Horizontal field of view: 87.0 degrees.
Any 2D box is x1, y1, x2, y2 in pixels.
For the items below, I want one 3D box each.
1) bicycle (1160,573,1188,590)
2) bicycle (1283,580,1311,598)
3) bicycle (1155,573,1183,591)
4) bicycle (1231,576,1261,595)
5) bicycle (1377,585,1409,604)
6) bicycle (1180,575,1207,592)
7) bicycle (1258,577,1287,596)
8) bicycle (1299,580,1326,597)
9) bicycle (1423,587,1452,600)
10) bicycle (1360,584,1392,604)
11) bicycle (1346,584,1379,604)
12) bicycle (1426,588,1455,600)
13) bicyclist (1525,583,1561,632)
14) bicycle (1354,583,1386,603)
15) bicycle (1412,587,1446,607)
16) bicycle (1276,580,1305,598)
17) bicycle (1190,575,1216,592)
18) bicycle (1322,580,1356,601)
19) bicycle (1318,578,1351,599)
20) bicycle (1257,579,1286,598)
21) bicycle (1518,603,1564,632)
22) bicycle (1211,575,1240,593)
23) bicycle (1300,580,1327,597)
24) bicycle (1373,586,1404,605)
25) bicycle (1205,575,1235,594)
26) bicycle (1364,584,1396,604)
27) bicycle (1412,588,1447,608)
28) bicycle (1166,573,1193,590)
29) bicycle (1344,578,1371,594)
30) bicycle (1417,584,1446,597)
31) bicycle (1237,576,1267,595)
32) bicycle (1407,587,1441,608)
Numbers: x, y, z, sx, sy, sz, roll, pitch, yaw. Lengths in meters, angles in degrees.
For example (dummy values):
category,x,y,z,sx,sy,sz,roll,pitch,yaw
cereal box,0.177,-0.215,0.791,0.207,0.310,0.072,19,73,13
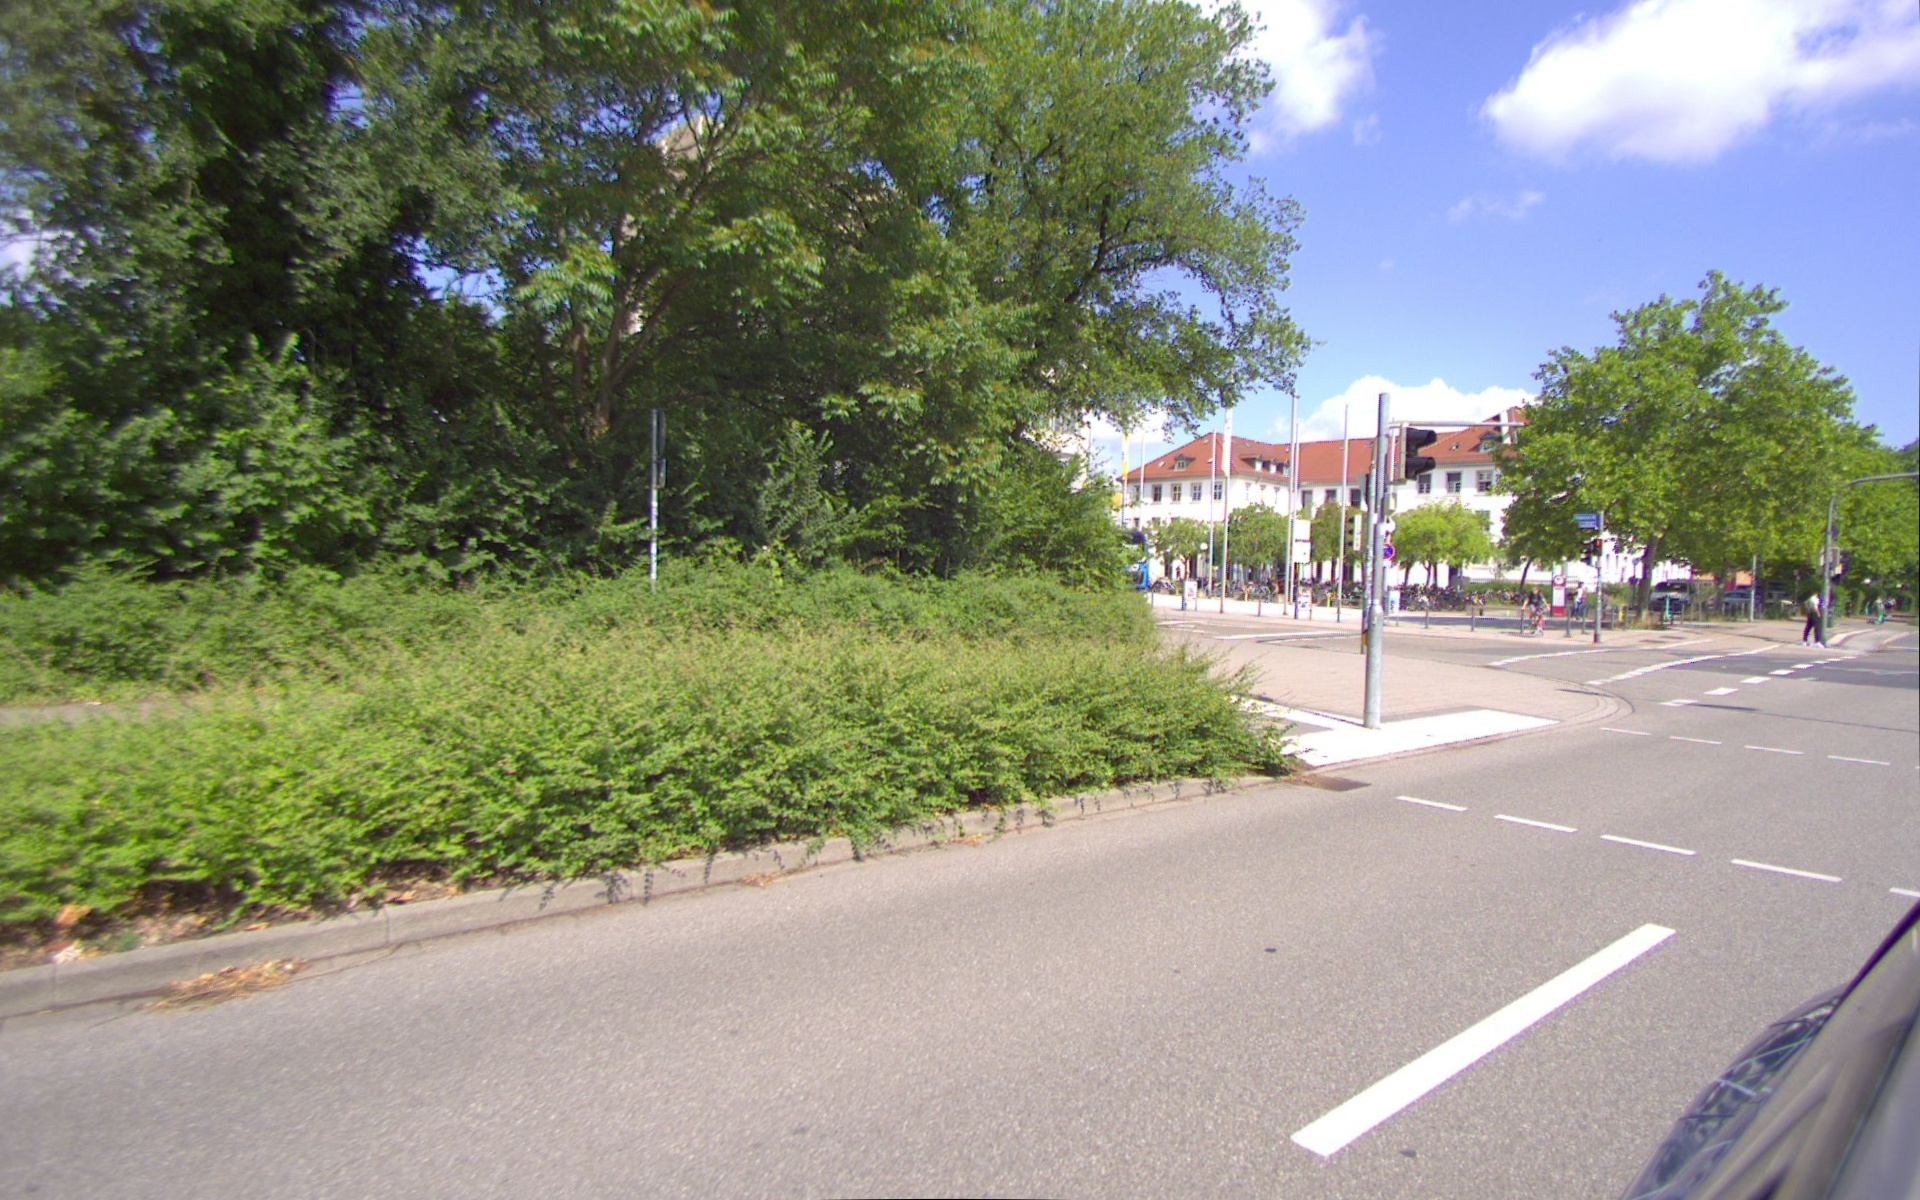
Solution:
category,x,y,z,sx,sy,sz,roll,pitch,yaw
bicycle,14.138,-1.217,66.903,1.667,1.110,0.617,3,2,43
bicycle,22.364,-0.731,67.151,1.668,1.110,0.617,3,2,43
bicycle,13.704,-1.169,66.364,1.667,1.110,0.617,3,2,43
bicycle,17.712,-0.882,62.604,1.667,1.110,0.617,3,2,43
bicycle,26.976,-0.373,63.070,1.668,1.110,0.617,3,2,43
bicycle,15.878,-1.146,68.820,1.667,1.110,0.617,3,2,43
bicycle,19.922,-0.866,64.579,1.668,1.110,0.617,3,2,43
bicycle,24.125,-0.781,69.263,1.668,1.110,0.617,3,2,43
bicycle,32.388,-0.430,68.611,1.668,0.800,0.617,3,2,43
bicycle,25.085,-0.377,61.084,1.668,1.110,0.617,3,2,43
bicycle,23.800,-0.387,59.897,1.668,1.110,0.617,3,2,43
bicycle,32.851,-0.414,69.222,1.668,0.800,0.617,3,2,43
bicyclist,19.094,0.236,33.169,0.601,1.526,0.919,2,1,0
bicycle,24.541,-0.425,60.564,1.668,1.110,0.617,3,2,43
bicycle,27.622,-0.174,59.646,1.668,1.110,0.617,3,2,43
bicycle,21.610,-0.704,66.224,1.668,1.110,0.617,3,2,43
bicycle,16.704,-1.143,69.605,1.668,1.110,0.617,3,2,43
bicycle,21.988,-0.554,58.729,1.667,1.110,0.617,3,2,43
bicycle,21.550,-0.676,58.280,1.667,1.110,0.617,3,2,43
bicycle,20.136,-0.745,65.399,1.668,1.110,0.617,3,2,43
bicycle,19.078,0.569,33.241,0.608,0.843,1.515,2,2,0
bicycle,16.833,-1.016,64.266,1.667,1.110,0.617,3,2,43
bicycle,24.445,-0.776,69.955,1.668,1.110,0.617,3,2,43
bicycle,26.431,-0.303,62.421,1.668,1.110,0.617,3,2,43
bicycle,16.375,-0.994,63.750,1.667,1.110,0.617,3,2,43
bicycle,25.600,-0.373,61.714,1.668,1.110,0.617,3,2,43
bicycle,27.005,-0.122,58.217,1.668,1.110,0.617,3,2,43
bicycle,14.620,-1.223,67.430,1.667,1.110,0.617,3,2,43
bicycle,28.817,-1.042,73.372,1.668,1.110,0.617,3,2,43
bicycle,31.502,-0.641,67.636,1.668,0.800,0.617,3,2,43
bicycle,18.211,-0.890,63.171,1.667,1.110,0.617,3,2,43
bicycle,27.125,-0.147,59.113,1.668,1.110,0.617,3,2,43
